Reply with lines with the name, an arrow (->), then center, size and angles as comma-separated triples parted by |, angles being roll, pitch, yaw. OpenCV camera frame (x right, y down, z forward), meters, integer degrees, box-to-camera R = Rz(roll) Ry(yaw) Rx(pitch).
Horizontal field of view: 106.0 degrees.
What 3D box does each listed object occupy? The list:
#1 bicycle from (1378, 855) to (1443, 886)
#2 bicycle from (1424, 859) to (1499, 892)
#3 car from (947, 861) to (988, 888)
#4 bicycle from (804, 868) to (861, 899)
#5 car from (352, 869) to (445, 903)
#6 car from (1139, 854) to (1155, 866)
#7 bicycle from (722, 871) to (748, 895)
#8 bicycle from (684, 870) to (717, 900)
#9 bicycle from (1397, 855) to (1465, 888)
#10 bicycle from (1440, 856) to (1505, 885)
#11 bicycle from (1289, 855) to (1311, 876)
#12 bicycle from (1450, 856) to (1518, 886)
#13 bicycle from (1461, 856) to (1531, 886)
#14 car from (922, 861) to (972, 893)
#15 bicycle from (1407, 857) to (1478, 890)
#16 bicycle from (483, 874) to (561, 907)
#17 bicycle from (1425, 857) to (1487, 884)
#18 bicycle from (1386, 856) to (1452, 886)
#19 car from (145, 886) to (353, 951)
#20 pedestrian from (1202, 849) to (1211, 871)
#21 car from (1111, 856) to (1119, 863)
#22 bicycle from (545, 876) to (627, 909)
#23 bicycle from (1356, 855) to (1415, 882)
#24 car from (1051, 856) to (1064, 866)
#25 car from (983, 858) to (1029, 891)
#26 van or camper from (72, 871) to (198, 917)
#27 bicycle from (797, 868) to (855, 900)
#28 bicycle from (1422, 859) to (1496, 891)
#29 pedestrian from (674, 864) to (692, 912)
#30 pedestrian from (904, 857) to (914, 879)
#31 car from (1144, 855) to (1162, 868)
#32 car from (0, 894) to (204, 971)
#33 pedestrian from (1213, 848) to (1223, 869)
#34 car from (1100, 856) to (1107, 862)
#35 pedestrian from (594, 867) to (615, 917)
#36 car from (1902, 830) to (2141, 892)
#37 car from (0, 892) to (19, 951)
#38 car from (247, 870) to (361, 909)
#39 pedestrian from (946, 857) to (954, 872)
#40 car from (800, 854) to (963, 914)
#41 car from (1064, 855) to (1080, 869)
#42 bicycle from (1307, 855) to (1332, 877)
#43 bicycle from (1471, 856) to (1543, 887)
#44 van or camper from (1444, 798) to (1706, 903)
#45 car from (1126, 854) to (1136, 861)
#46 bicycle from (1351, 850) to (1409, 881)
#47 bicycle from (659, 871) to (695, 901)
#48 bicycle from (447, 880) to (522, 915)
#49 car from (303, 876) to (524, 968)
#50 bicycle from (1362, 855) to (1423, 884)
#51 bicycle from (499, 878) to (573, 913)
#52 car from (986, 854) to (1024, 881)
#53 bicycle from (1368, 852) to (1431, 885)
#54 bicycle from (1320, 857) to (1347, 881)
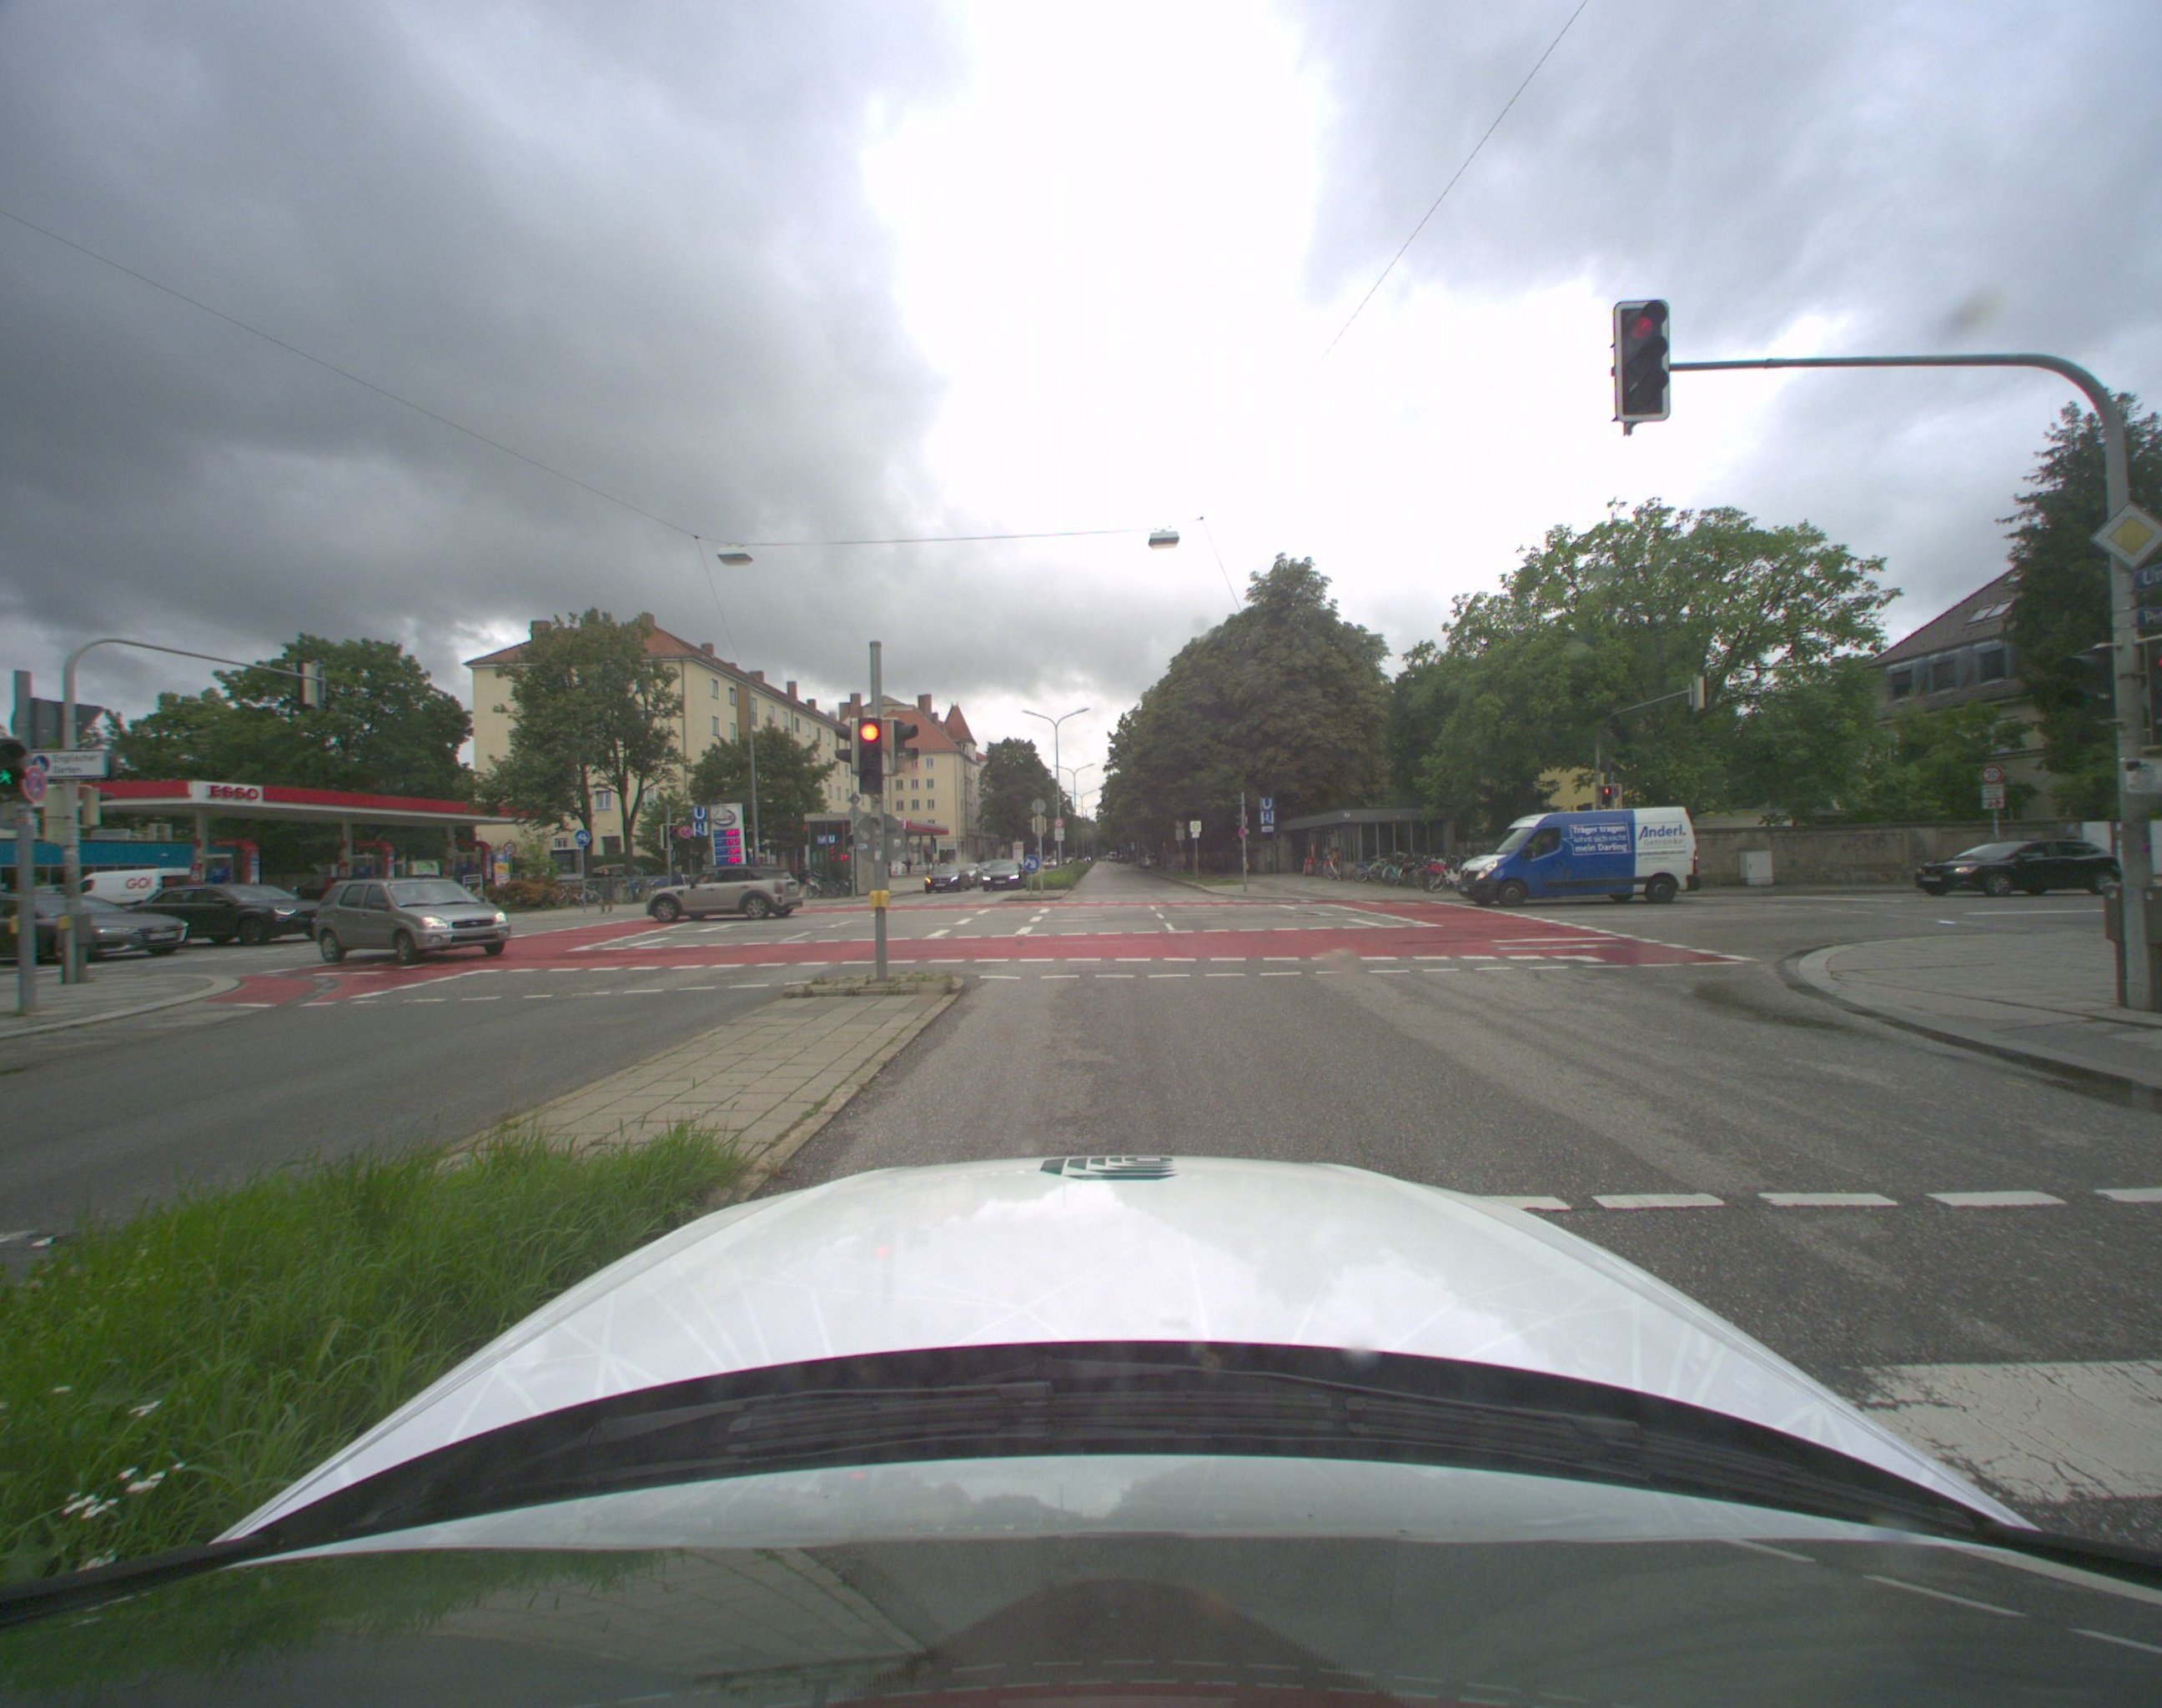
bicycle -> 12.277, 0.599, 30.379 | 2.130, 1.086, 0.604 | -2, 0, 9
bicycle -> 12.509, 0.714, 26.843 | 2.130, 1.014, 0.604 | -2, 0, 9
car -> -6.763, 1.198, 48.732 | 1.753, 1.460, 4.001 | -2, 0, 1
bicycle -> -10.981, 1.303, 36.054 | 2.276, 1.304, 0.694 | -2, 0, 2
car -> -40.692, 1.891, 48.612 | 3.973, 1.784, 1.858 | -2, 0, 1
car -> 8.079, 0.734, 99.696 | 1.737, 1.363, 3.807 | -2, 0, 1
bicycle -> -17.412, 1.439, 41.023 | 0.607, 1.145, 1.962 | -2, 0, -5
bicycle -> -17.211, 1.392, 36.868 | 0.607, 1.236, 2.183 | -2, 0, -5
bicycle -> 12.406, 0.618, 28.931 | 2.130, 1.101, 0.604 | -2, 0, 9
bicycle -> 14.825, 0.624, 30.872 | 2.130, 1.014, 0.636 | -2, 0, 9
bicycle -> 11.238, 0.591, 41.906 | 0.555, 1.014, 2.015 | -2, 0, 0
bicycle -> 14.857, 0.619, 30.086 | 2.130, 1.014, 0.636 | -2, 0, 9
bicycle -> 14.915, 0.614, 29.290 | 2.130, 1.014, 0.636 | -2, 0, 9
car -> -6.817, 1.138, 41.657 | 1.753, 1.460, 4.001 | -2, 0, 1
bicycle -> 12.526, 0.683, 28.274 | 2.130, 1.071, 0.604 | -2, 0, 9
bicycle -> -21.889, 1.424, 31.938 | 2.394, 1.251, 0.789 | 0, -1, -10
bicycle -> 14.928, 0.641, 32.451 | 2.130, 1.014, 0.636 | -2, 0, 9
bicycle -> 12.297, 0.631, 29.649 | 2.130, 1.014, 0.604 | -2, 0, 9
car -> -20.656, 1.575, 20.307 | 3.532, 1.412, 1.666 | -2, 0, 3
pedestrian -> 10.190, 0.486, 65.988 | 0.674, 1.682, 0.684 | -2, 0, 7
car -> 8.281, 1.300, 197.339 | 1.916, 1.684, 4.001 | -2, 0, 1
bicycle -> -19.595, 1.511, 32.336 | 2.720, 1.251, 0.786 | 0, -1, -29
bicycle -> 12.210, 0.591, 32.702 | 2.130, 1.014, 0.604 | -2, 0, 9
car -> -3.624, 1.120, 126.784 | 1.753, 1.460, 4.001 | -2, 0, 1
car -> -3.686, 0.974, 40.622 | 1.753, 1.493, 4.001 | -2, 0, 1
van or camper -> -51.899, 2.165, 44.729 | 4.523, 2.323, 1.918 | -2, 0, -1
bicycle -> -11.029, 1.288, 35.264 | 2.262, 1.304, 0.704 | -2, 0, 2
bicycle -> 12.725, 0.699, 27.464 | 2.130, 1.014, 0.636 | -2, 0, 9
pedestrian -> -14.571, 1.234, 29.831 | 0.536, 1.695, 0.572 | -2, 0, -24
pedestrian -> -16.318, 1.328, 77.106 | 0.727, 2.014, 0.835 | 0, -1, 1
car -> 7.931, 0.827, 89.731 | 1.737, 1.363, 3.807 | -2, 0, 1
car -> -21.874, 1.668, 17.441 | 4.301, 1.412, 1.663 | -2, 0, -1
pedestrian -> 11.112, 0.384, 66.115 | 0.674, 1.682, 0.684 | -2, 0, 7
car -> 6.383, 1.507, 232.341 | 1.850, 1.684, 4.001 | -2, 0, 1
pedestrian -> -16.708, 1.315, 28.556 | 0.593, 1.695, 0.571 | -1, 0, -29
car -> 23.786, 0.177, 20.729 | 3.818, 1.397, 1.699 | -2, 0, 7
car -> -29.780, 1.805, 20.657 | 3.317, 1.514, 1.694 | -2, 0, -2
car -> -39.589, 1.794, 41.546 | 3.973, 1.784, 1.858 | -2, 0, 1
pedestrian -> -13.873, 1.113, 86.068 | 0.693, 1.638, 0.738 | -2, 0, 1
car -> -5.577, 0.826, 23.149 | 4.154, 1.514, 1.695 | -2, 0, 0
car -> -0.927, 0.780, 85.836 | 1.463, 1.399, 3.701 | -2, 0, 1
bicycle -> 11.319, 0.558, 38.693 | 0.555, 1.014, 2.015 | -2, 0, 0
bicycle -> 14.887, 0.606, 28.522 | 2.130, 1.014, 0.636 | -2, 0, 9
van or camper -> 12.809, -0.083, 21.461 | 5.525, 2.469, 2.070 | -2, 0, 5
car -> 9.837, 0.702, 160.413 | 1.737, 1.427, 3.900 | -2, 0, 1
bicycle -> 12.239, 0.470, 33.421 | 2.130, 1.218, 0.604 | -2, 0, 9
bicycle -> -17.868, 1.407, 36.055 | 0.607, 1.236, 2.183 | -2, 0, -5
bicycle -> -22.835, 1.654, 31.227 | 2.179, 1.236, 0.764 | -2, 0, -8
car -> -12.689, 1.248, 15.492 | 3.587, 1.517, 1.673 | -2, 0, 21
bicycle -> 12.157, 0.622, 31.822 | 2.130, 1.062, 0.604 | -2, 0, 9
bicycle -> -20.901, 1.583, 31.280 | 2.180, 1.236, 0.763 | -2, 0, -10
car -> -4.478, 0.786, 48.452 | 1.753, 1.493, 4.001 | -2, 0, 1
bicycle -> 12.166, 0.557, 31.120 | 2.130, 1.178, 0.604 | -2, 0, 9
bicycle -> 11.125, 0.648, 35.959 | 0.555, 1.014, 2.015 | -2, 0, 0
